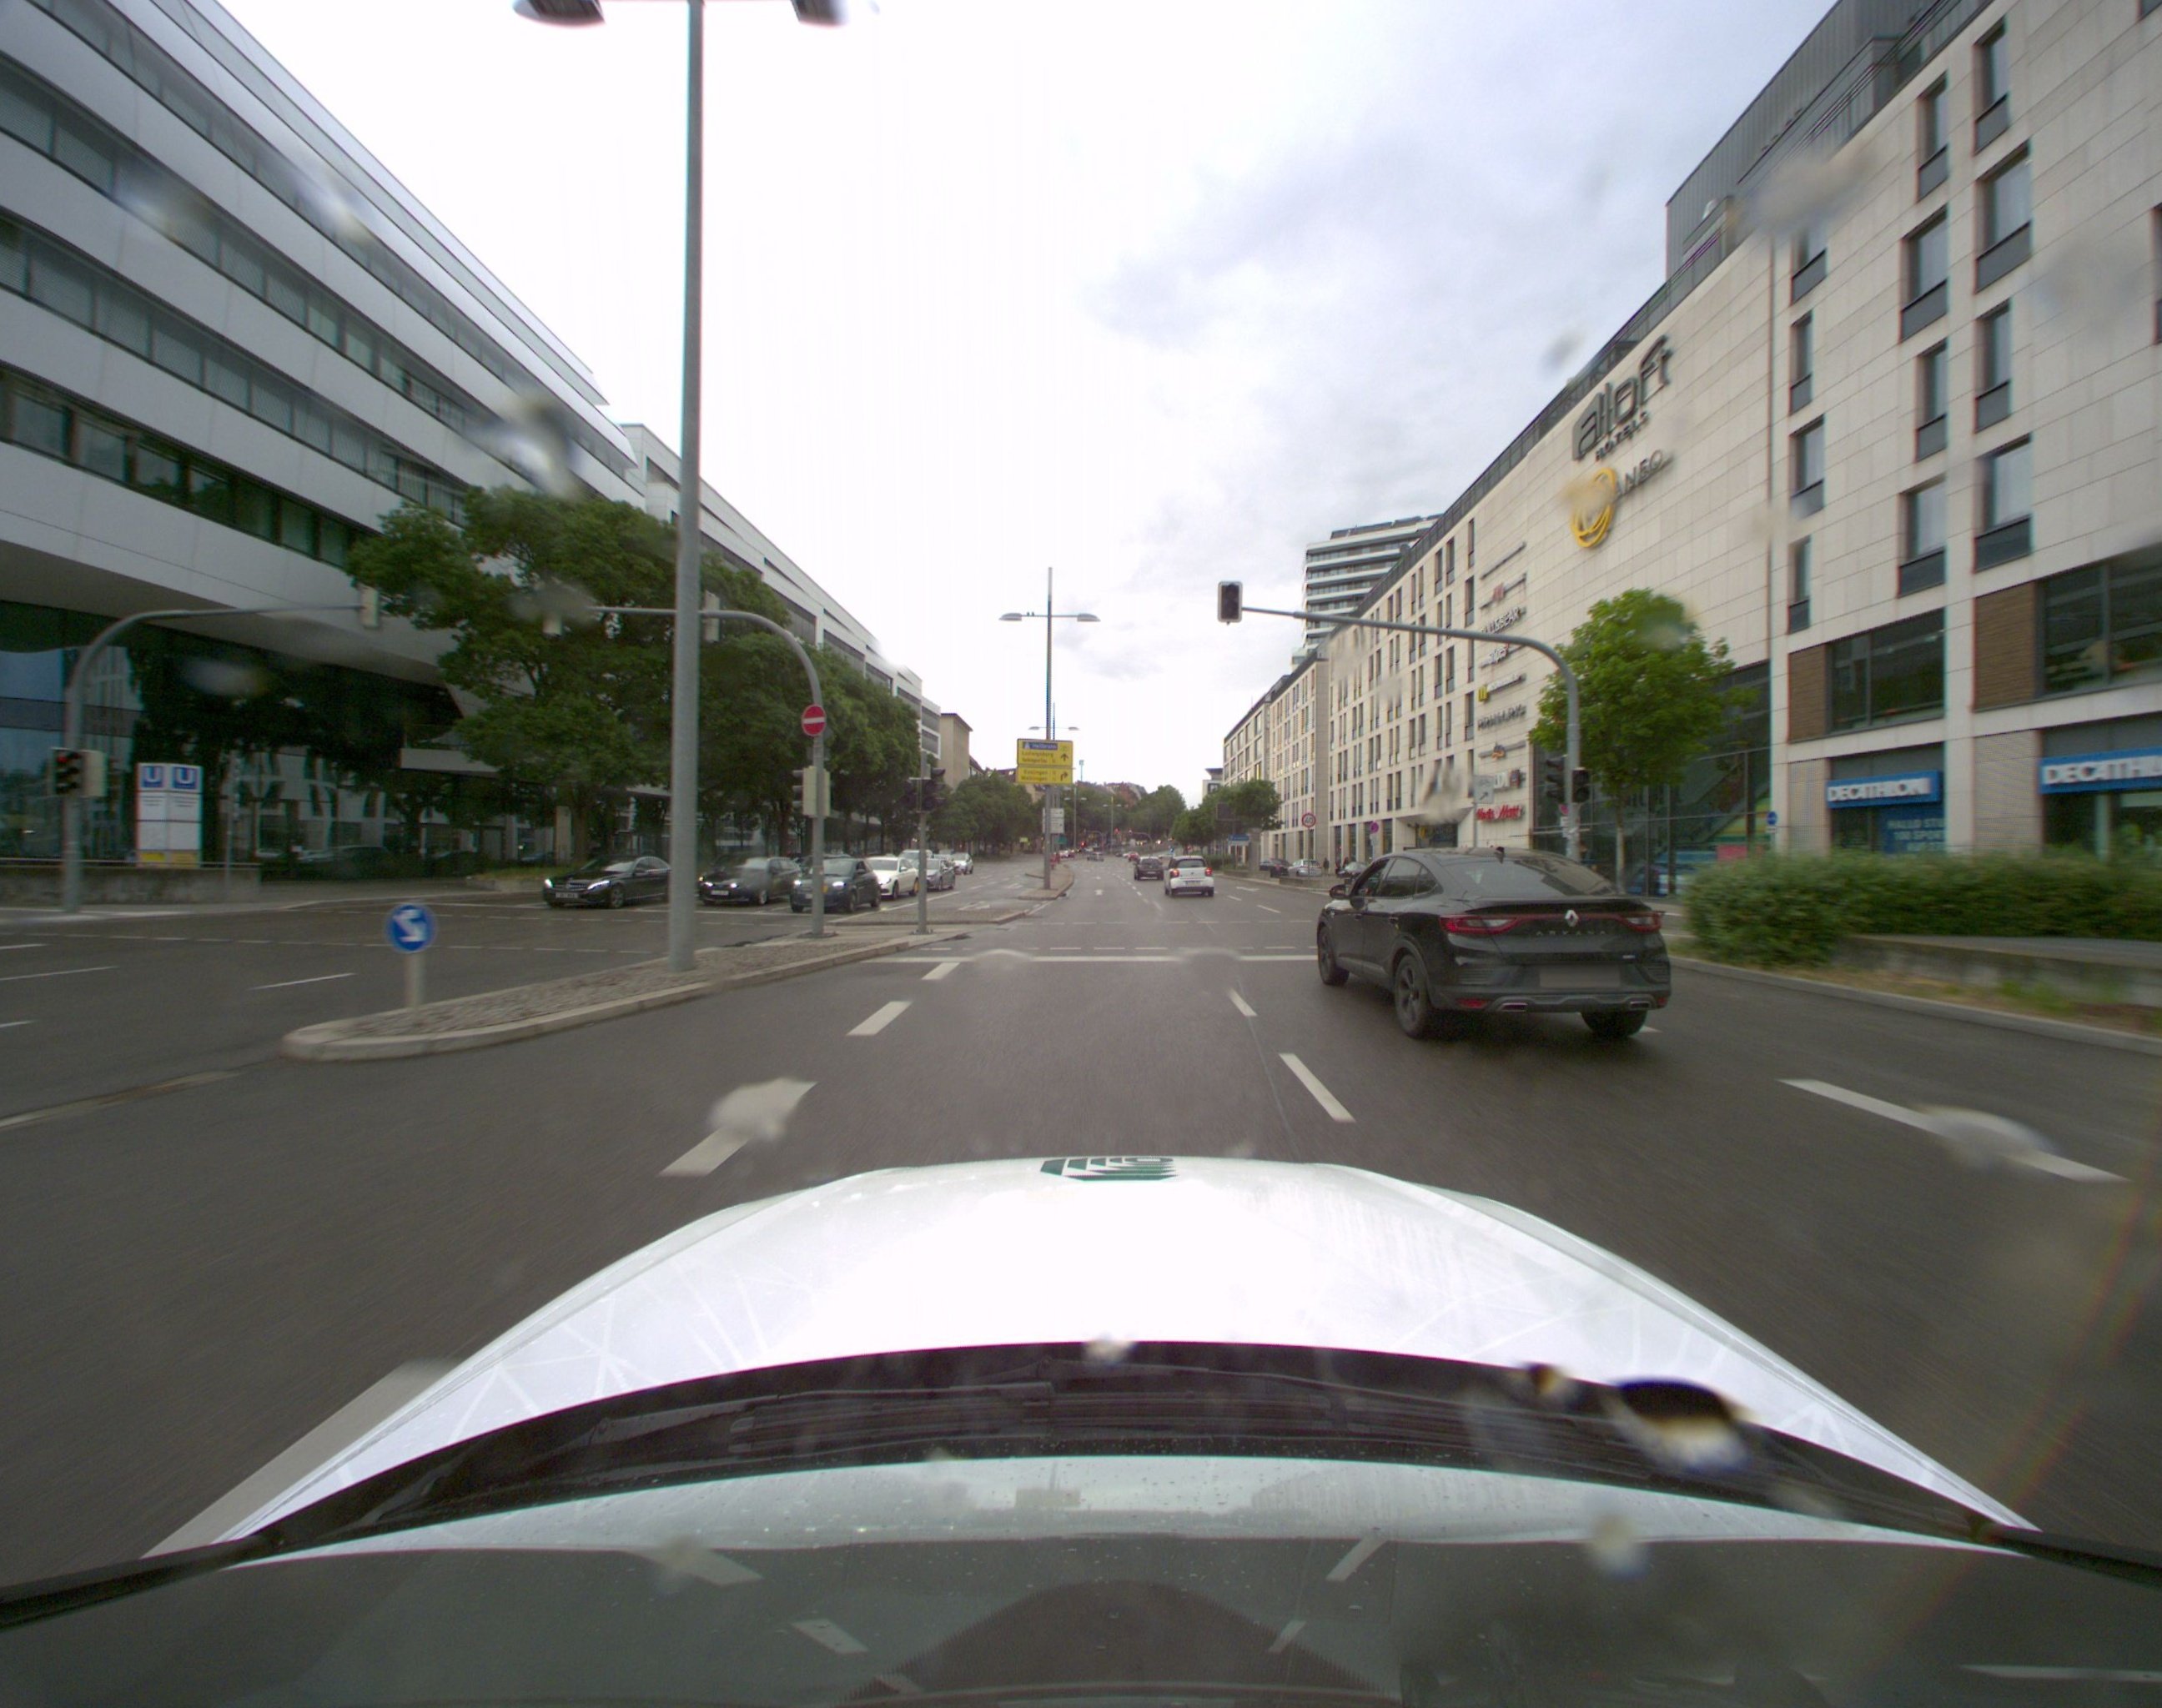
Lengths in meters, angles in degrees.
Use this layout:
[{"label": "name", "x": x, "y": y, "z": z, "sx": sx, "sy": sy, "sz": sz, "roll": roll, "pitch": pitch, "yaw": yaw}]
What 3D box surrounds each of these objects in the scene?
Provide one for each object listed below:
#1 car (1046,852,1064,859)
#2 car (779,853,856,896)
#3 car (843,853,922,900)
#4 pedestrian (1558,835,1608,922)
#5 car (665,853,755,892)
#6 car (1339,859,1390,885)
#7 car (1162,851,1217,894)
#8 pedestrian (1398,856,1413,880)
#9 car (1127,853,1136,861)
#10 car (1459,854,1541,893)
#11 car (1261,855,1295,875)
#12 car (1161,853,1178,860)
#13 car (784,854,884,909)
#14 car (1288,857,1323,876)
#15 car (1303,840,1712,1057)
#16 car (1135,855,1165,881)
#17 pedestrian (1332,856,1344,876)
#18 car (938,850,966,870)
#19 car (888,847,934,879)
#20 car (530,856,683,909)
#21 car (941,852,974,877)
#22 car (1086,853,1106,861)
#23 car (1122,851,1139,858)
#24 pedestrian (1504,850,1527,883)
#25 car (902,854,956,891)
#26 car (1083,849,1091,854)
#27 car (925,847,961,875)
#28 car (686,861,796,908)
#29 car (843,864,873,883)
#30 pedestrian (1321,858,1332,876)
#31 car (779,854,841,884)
[{"label": "car", "x": -5.922, "y": 0.281, "z": 187.612, "sx": 3.827, "sy": 1.531, "sz": 1.728, "roll": -1, "pitch": 0, "yaw": -32}, {"label": "car", "x": -10.118, "y": 0.755, "z": 31.506, "sx": 1.737, "sy": 1.559, "sz": 3.541, "roll": -1, "pitch": -1, "yaw": 2}, {"label": "car", "x": -7.106, "y": 0.775, "z": 29.535, "sx": 1.696, "sy": 1.559, "sz": 4.246, "roll": -1, "pitch": -1, "yaw": 2}, {"label": "pedestrian", "x": 10.762, "y": 0.513, "z": 17.472, "sx": 0.724, "sy": 1.832, "sz": 0.510, "roll": -1, "pitch": -1, "yaw": 1}, {"label": "car", "x": -14.134, "y": 0.686, "z": 31.239, "sx": 1.737, "sy": 1.424, "sz": 3.541, "roll": -1, "pitch": -1, "yaw": 2}, {"label": "car", "x": 14.442, "y": 0.894, "z": 41.644, "sx": 1.500, "sy": 1.266, "sz": 3.503, "roll": -1, "pitch": -1, "yaw": 2}, {"label": "car", "x": 4.165, "y": 0.699, "z": 31.673, "sx": 1.718, "sy": 1.531, "sz": 3.815, "roll": -1, "pitch": -1, "yaw": 2}, {"label": "pedestrian", "x": 20.950, "y": 0.886, "z": 52.640, "sx": 0.671, "sy": 1.528, "sz": 0.727, "roll": -1, "pitch": -1, "yaw": 1}, {"label": "car", "x": 9.992, "y": 0.683, "z": 162.021, "sx": 1.733, "sy": 1.531, "sz": 3.815, "roll": -1, "pitch": -1, "yaw": 2}, {"label": "car", "x": 14.395, "y": 0.650, "z": 28.148, "sx": 1.497, "sy": 1.266, "sz": 3.511, "roll": -1, "pitch": -1, "yaw": 9}, {"label": "car", "x": 14.674, "y": 0.838, "z": 60.829, "sx": 1.655, "sy": 1.400, "sz": 3.834, "roll": -1, "pitch": -1, "yaw": 2}, {"label": "car", "x": 21.072, "y": 0.549, "z": 193.639, "sx": 3.778, "sy": 1.531, "sz": 1.750, "roll": -1, "pitch": 0, "yaw": 10}, {"label": "car", "x": -7.004, "y": 0.754, "z": 23.418, "sx": 1.737, "sy": 1.444, "sz": 3.396, "roll": -1, "pitch": -1, "yaw": 2}, {"label": "car", "x": 15.159, "y": 0.837, "z": 55.226, "sx": 1.500, "sy": 1.266, "sz": 3.503, "roll": -1, "pitch": -1, "yaw": 2}, {"label": "car", "x": 3.578, "y": 0.642, "z": 7.876, "sx": 1.784, "sy": 1.506, "sz": 4.340, "roll": -1, "pitch": 1, "yaw": 1}, {"label": "car", "x": 4.366, "y": 0.887, "z": 51.885, "sx": 1.733, "sy": 1.531, "sz": 3.815, "roll": -1, "pitch": -1, "yaw": 2}, {"label": "pedestrian", "x": 19.579, "y": 0.931, "z": 62.069, "sx": 0.671, "sy": 1.528, "sz": 0.727, "roll": -1, "pitch": -1, "yaw": 1}, {"label": "car", "x": -11.354, "y": 0.542, "z": 71.735, "sx": 1.737, "sy": 1.748, "sz": 3.541, "roll": -1, "pitch": -1, "yaw": 2}, {"label": "car", "x": -9.524, "y": 0.501, "z": 45.806, "sx": 1.737, "sy": 1.748, "sz": 3.541, "roll": -1, "pitch": -1, "yaw": 2}, {"label": "car", "x": -13.224, "y": 0.757, "z": 23.046, "sx": 1.736, "sy": 1.328, "sz": 4.227, "roll": -1, "pitch": -1, "yaw": 2}, {"label": "car", "x": -9.074, "y": 0.763, "z": 60.131, "sx": 1.737, "sy": 1.748, "sz": 3.541, "roll": -1, "pitch": -1, "yaw": 2}, {"label": "car", "x": 2.883, "y": 0.577, "z": 155.346, "sx": 1.754, "sy": 1.531, "sz": 3.771, "roll": -1, "pitch": 0, "yaw": -37}, {"label": "car", "x": 11.664, "y": 0.172, "z": 193.367, "sx": 3.778, "sy": 1.531, "sz": 1.750, "roll": -1, "pitch": 0, "yaw": 10}, {"label": "pedestrian", "x": 20.383, "y": 0.578, "z": 38.186, "sx": 0.671, "sy": 1.528, "sz": 0.727, "roll": -1, "pitch": -1, "yaw": 1}, {"label": "car", "x": -6.582, "y": 0.784, "z": 35.505, "sx": 1.532, "sy": 1.477, "sz": 3.697, "roll": -1, "pitch": -1, "yaw": 2}, {"label": "car", "x": 1.708, "y": -0.721, "z": 229.508, "sx": 1.730, "sy": 1.531, "sz": 3.823, "roll": -1, "pitch": 0, "yaw": 8}, {"label": "car", "x": -9.182, "y": 0.468, "z": 54.431, "sx": 1.737, "sy": 1.748, "sz": 3.541, "roll": -1, "pitch": -1, "yaw": 2}, {"label": "car", "x": -10.110, "y": 0.863, "z": 24.494, "sx": 1.737, "sy": 1.257, "sz": 3.541, "roll": 0, "pitch": 1, "yaw": 2}, {"label": "car", "x": -20.935, "y": 1.801, "z": 76.705, "sx": 1.737, "sy": 1.748, "sz": 3.541, "roll": -1, "pitch": -1, "yaw": 2}, {"label": "pedestrian", "x": 21.633, "y": 1.159, "z": 71.775, "sx": 0.671, "sy": 1.528, "sz": 0.727, "roll": -1, "pitch": -1, "yaw": 1}, {"label": "car", "x": -13.182, "y": 0.722, "z": 39.775, "sx": 1.737, "sy": 1.424, "sz": 3.541, "roll": -1, "pitch": -1, "yaw": 2}]
